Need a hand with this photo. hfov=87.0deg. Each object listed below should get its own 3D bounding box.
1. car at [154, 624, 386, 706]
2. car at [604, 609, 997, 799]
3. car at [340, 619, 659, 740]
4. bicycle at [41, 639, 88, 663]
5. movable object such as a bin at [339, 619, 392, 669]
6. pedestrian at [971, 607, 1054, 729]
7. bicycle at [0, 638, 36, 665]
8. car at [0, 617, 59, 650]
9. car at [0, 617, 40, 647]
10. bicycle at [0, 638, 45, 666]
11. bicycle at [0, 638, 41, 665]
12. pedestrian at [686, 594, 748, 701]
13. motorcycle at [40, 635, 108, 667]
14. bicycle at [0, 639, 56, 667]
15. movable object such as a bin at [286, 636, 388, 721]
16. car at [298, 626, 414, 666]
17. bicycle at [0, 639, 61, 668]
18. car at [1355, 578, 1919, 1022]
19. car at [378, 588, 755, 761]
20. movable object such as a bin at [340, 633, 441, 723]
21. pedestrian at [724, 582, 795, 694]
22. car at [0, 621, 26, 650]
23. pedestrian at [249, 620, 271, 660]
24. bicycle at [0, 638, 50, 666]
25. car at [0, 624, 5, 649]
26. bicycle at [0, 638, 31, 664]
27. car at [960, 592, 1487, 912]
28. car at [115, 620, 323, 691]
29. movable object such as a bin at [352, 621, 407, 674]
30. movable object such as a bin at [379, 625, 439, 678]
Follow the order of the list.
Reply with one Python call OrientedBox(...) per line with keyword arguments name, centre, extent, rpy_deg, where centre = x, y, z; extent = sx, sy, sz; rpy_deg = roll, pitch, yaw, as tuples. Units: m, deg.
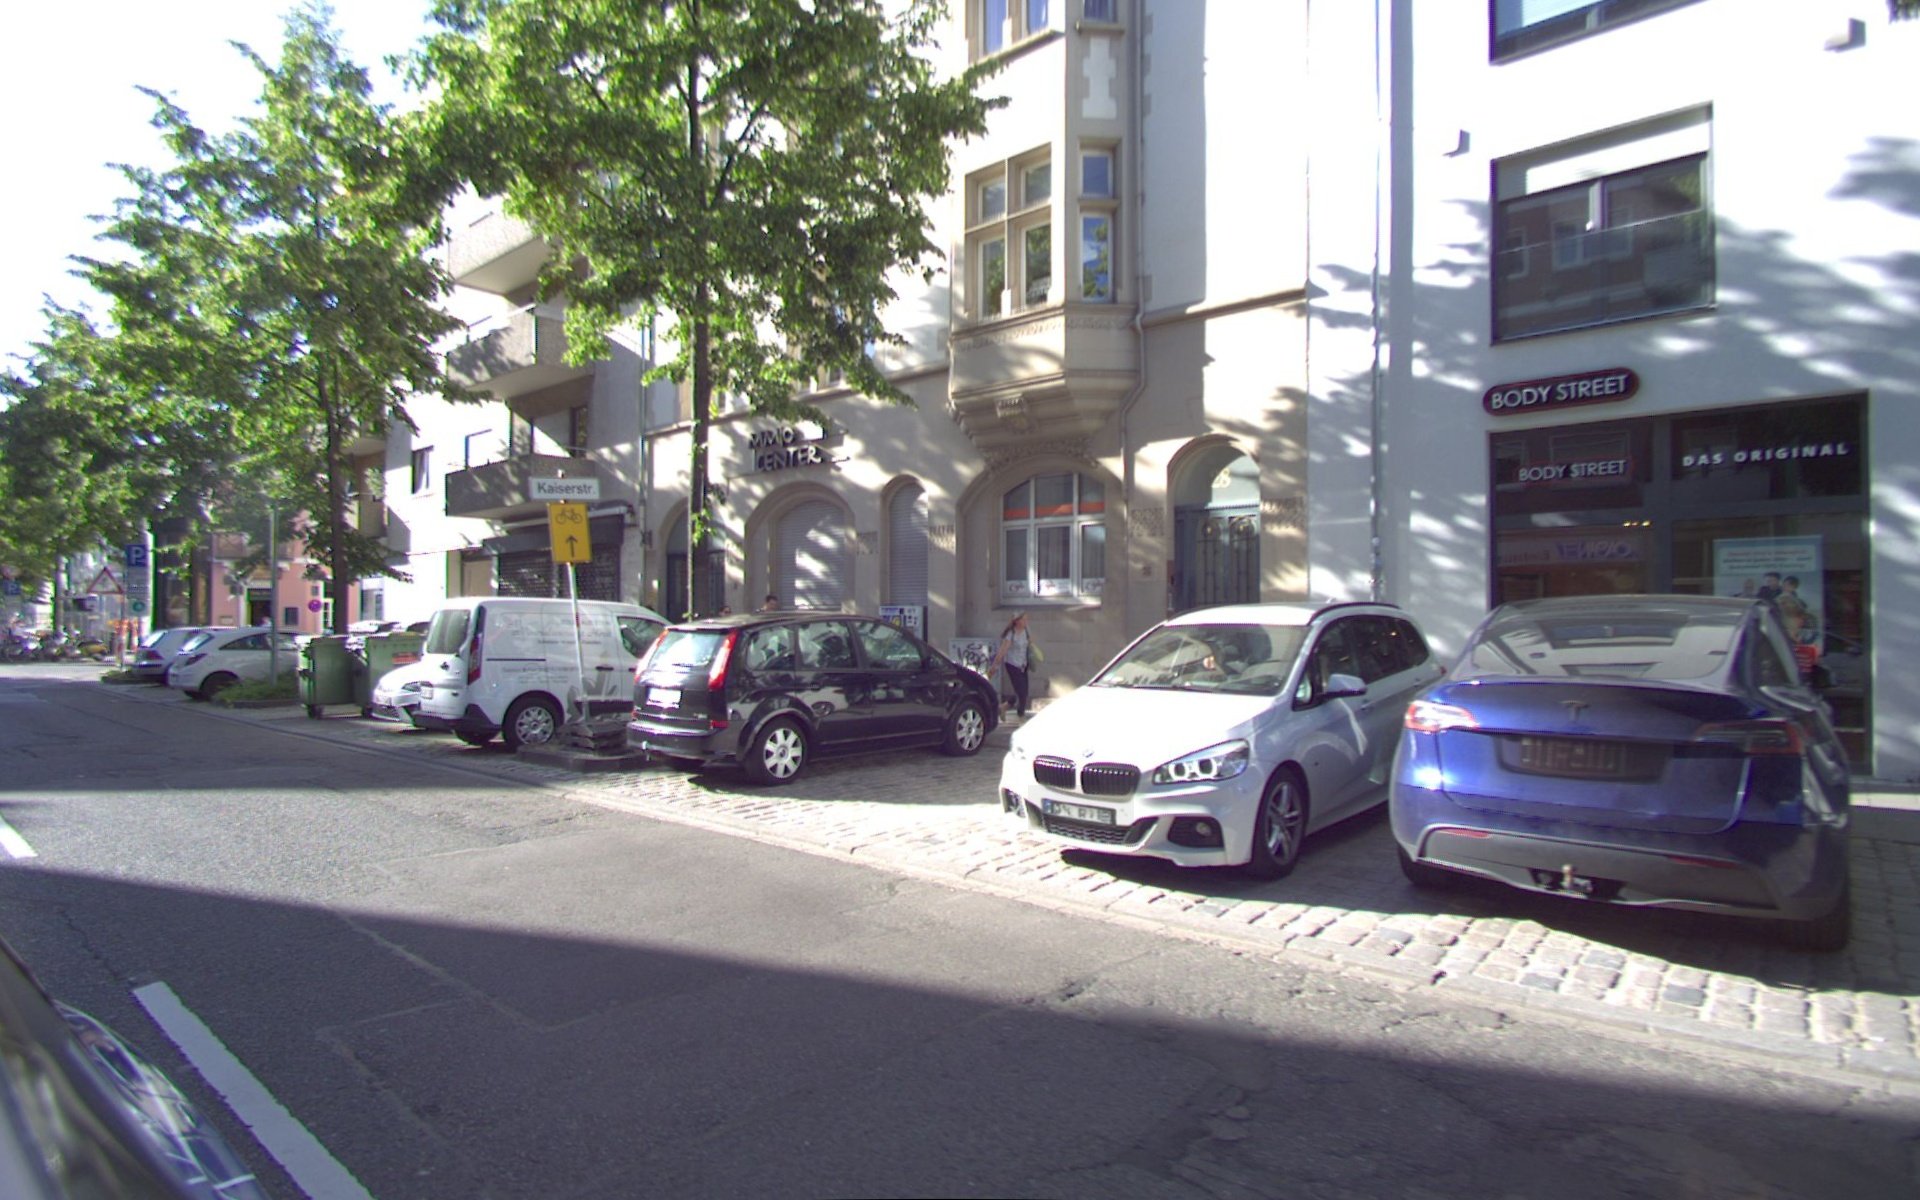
OrientedBox(name="car", centre=(-14.520, 1.302, 21.461), extent=(1.708, 1.475, 3.742), rpy_deg=(-2, -1, 38))
OrientedBox(name="car", centre=(-1.494, 0.899, 10.484), extent=(1.791, 1.570, 3.760), rpy_deg=(-2, -1, 41))
OrientedBox(name="car", centre=(-6.779, 1.079, 15.186), extent=(1.886, 1.475, 3.938), rpy_deg=(-2, -1, 41))
OrientedBox(name="bicycle", centre=(-37.375, 2.130, 42.245), extent=(1.493, 0.958, 0.360), rpy_deg=(-1, 0, -8))
OrientedBox(name="movable object such as a bin", centre=(-17.688, 1.299, 30.107), extent=(1.258, 1.471, 1.022), rpy_deg=(-2, -2, 42))
OrientedBox(name="pedestrian", centre=(0.678, 0.862, 13.149), extent=(0.842, 1.505, 0.586), rpy_deg=(-2, 1, 42))
OrientedBox(name="bicycle", centre=(-39.394, 2.122, 41.629), extent=(0.471, 1.037, 1.987), rpy_deg=(-1, 0, 28))
OrientedBox(name="car", centre=(-51.018, 1.778, 54.056), extent=(1.998, 1.693, 4.083), rpy_deg=(-1, -1, 40))
OrientedBox(name="car", centre=(-55.587, 1.854, 57.921), extent=(1.998, 1.693, 4.083), rpy_deg=(-1, -1, 40))
OrientedBox(name="bicycle", centre=(-38.612, 2.125, 41.201), extent=(0.471, 1.037, 1.987), rpy_deg=(-1, 0, 28))
OrientedBox(name="bicycle", centre=(-38.993, 2.125, 41.404), extent=(0.471, 1.037, 1.987), rpy_deg=(-1, 0, 28))
OrientedBox(name="pedestrian", centre=(-3.910, 0.752, 16.306), extent=(0.726, 1.638, 0.560), rpy_deg=(-1, 3, 39))
OrientedBox(name="motorcycle", centre=(-35.845, 2.053, 40.959), extent=(0.740, 1.194, 1.977), rpy_deg=(-2, -1, 43))
OrientedBox(name="bicycle", centre=(-37.737, 2.134, 40.713), extent=(0.471, 1.037, 1.987), rpy_deg=(-1, 0, 28))
OrientedBox(name="movable object such as a bin", centre=(-10.257, 1.265, 16.675), extent=(0.869, 1.312, 1.225), rpy_deg=(-1, -2, 40))
OrientedBox(name="car", centre=(-23.635, 1.763, 39.730), extent=(1.889, 1.488, 3.581), rpy_deg=(-1, -2, 18))
OrientedBox(name="bicycle", centre=(-37.274, 2.142, 40.444), extent=(0.471, 1.037, 1.987), rpy_deg=(-1, 0, 28))
OrientedBox(name="car", centre=(4.092, 0.740, 5.905), extent=(1.979, 1.582, 4.321), rpy_deg=(-2, -1, 41))
OrientedBox(name="car", centre=(-4.932, 0.811, 13.090), extent=(2.037, 1.850, 4.063), rpy_deg=(-2, -1, 41))
OrientedBox(name="movable object such as a bin", centre=(-9.227, 1.226, 16.407), extent=(0.931, 1.355, 1.180), rpy_deg=(-1, -1, 40))
OrientedBox(name="pedestrian", centre=(-3.364, 0.620, 17.007), extent=(0.762, 1.779, 0.767), rpy_deg=(-1, 3, 39))
OrientedBox(name="car", centre=(-57.637, 2.117, 59.254), extent=(1.998, 1.693, 4.083), rpy_deg=(-1, -1, 40))
OrientedBox(name="pedestrian", centre=(-30.634, 1.755, 44.281), extent=(0.579, 1.740, 0.622), rpy_deg=(-2, -2, 38))
OrientedBox(name="bicycle", centre=(-38.169, 2.122, 40.950), extent=(0.471, 1.037, 1.987), rpy_deg=(-1, 0, 28))
OrientedBox(name="car", centre=(-63.833, 2.368, 64.557), extent=(1.910, 1.606, 4.083), rpy_deg=(-1, -1, 40))
OrientedBox(name="bicycle", centre=(-39.838, 2.123, 41.878), extent=(0.471, 1.037, 1.987), rpy_deg=(-1, 0, 28))
OrientedBox(name="car", centre=(2.152, 0.780, 7.298), extent=(1.945, 1.582, 4.321), rpy_deg=(-2, -1, 41))
OrientedBox(name="car", centre=(-18.596, 1.333, 25.526), extent=(1.748, 1.475, 3.957), rpy_deg=(1, 1, 41))
OrientedBox(name="movable object such as a bin", centre=(-16.727, 1.353, 29.161), extent=(1.258, 1.471, 1.022), rpy_deg=(-2, -2, 42))
OrientedBox(name="movable object such as a bin", centre=(-15.169, 1.405, 27.875), extent=(1.351, 1.426, 1.066), rpy_deg=(-2, -2, 42))
